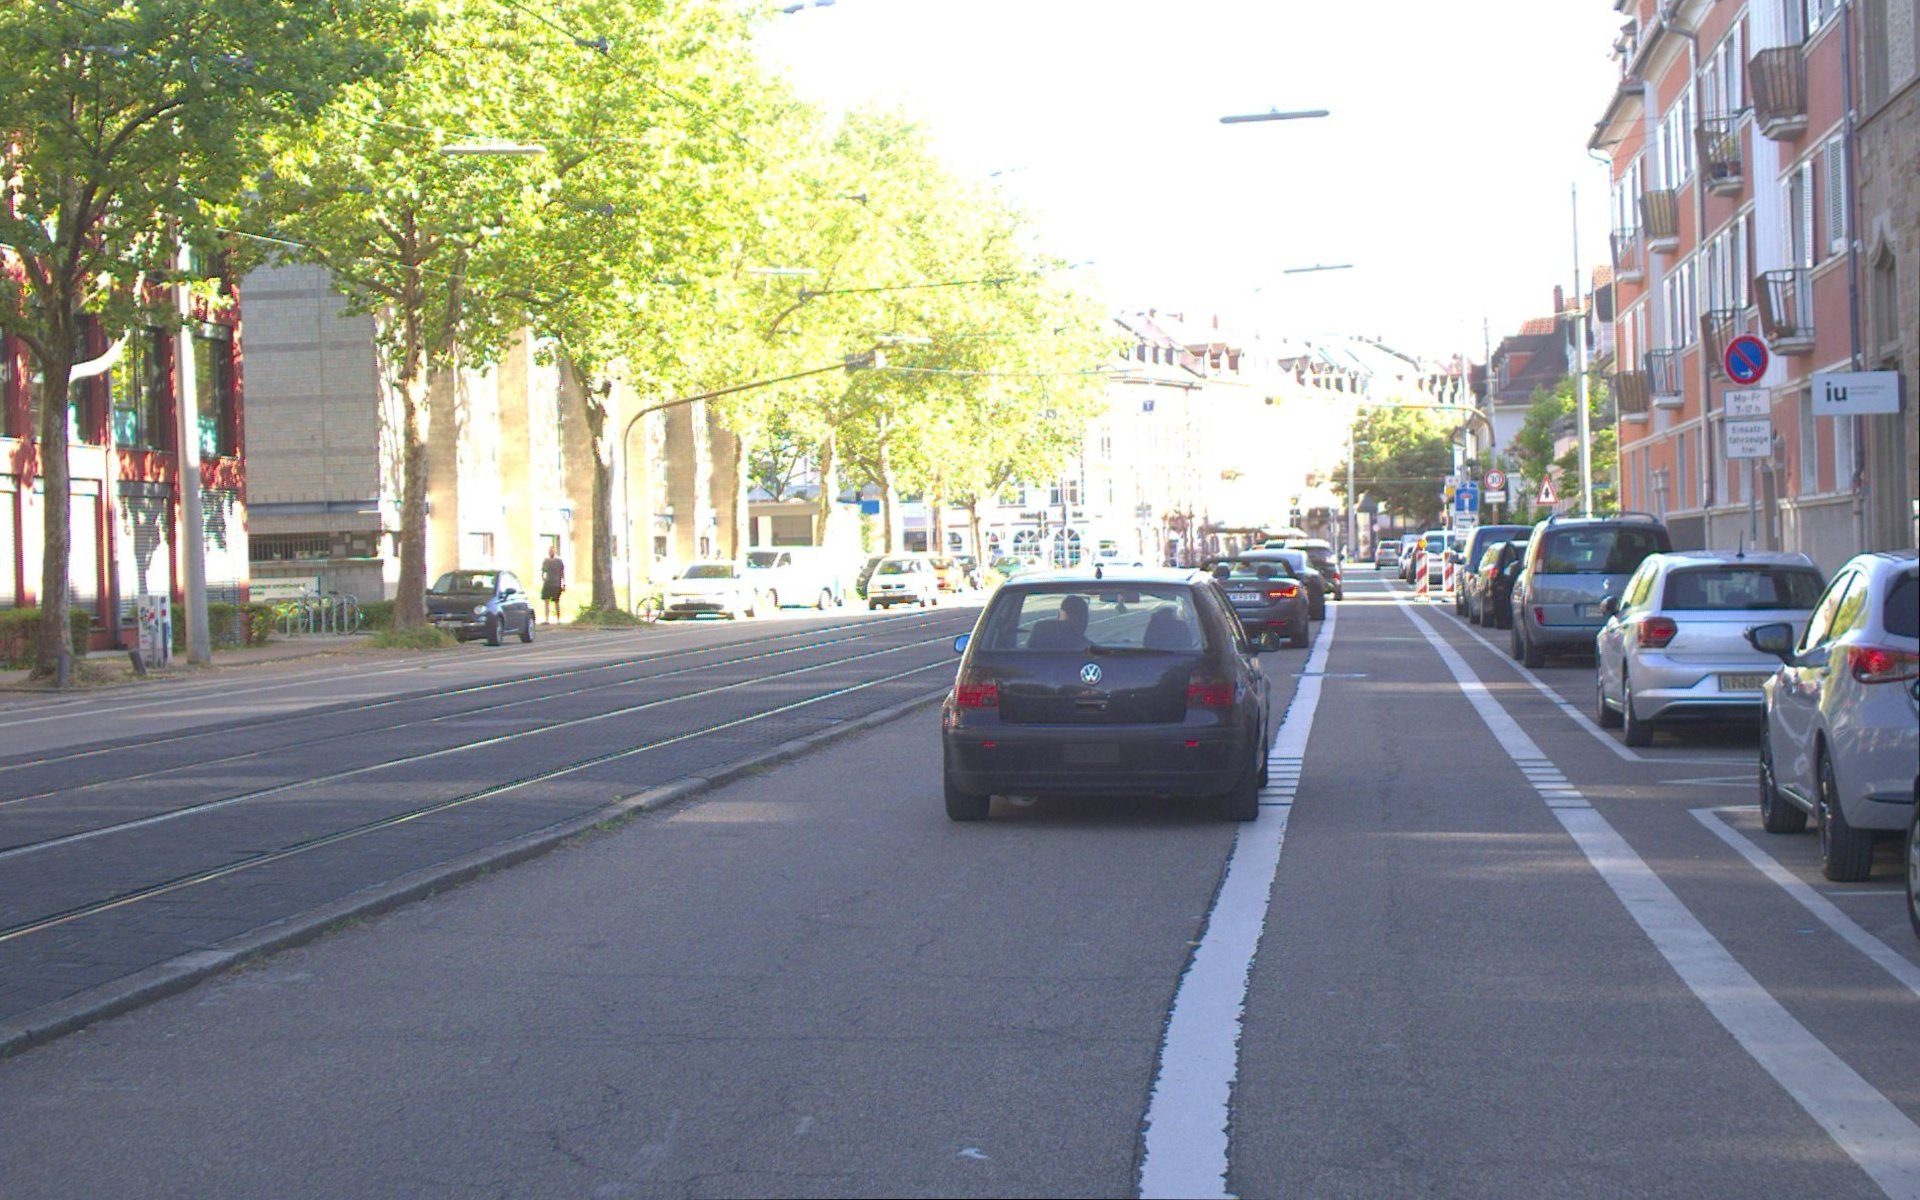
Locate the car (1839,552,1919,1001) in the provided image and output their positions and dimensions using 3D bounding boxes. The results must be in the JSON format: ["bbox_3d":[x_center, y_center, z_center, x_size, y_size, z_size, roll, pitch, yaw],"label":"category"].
[{"bbox_3d":[3.962,0.584,11.024,1.655,1.477,3.999,0,1,6],"label":"car"}]

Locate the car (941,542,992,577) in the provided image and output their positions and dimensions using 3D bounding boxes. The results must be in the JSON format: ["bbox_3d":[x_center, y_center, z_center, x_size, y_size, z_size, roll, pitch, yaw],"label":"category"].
[{"bbox_3d":[0.295,-1.792,151.409,1.793,1.460,3.835,2,1,7],"label":"car"}]

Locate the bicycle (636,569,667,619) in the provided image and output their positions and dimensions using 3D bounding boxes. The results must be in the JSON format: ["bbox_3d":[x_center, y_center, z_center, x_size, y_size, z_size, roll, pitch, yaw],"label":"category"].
[{"bbox_3d":[-7.674,-0.161,85.518,0.581,1.205,1.654,0,1,1],"label":"bicycle"}]

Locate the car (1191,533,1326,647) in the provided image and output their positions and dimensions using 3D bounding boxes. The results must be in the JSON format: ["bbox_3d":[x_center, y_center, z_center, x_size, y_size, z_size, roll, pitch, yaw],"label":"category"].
[{"bbox_3d":[4.336,-0.177,49.509,1.749,1.532,3.891,-1,1,7],"label":"car"}]

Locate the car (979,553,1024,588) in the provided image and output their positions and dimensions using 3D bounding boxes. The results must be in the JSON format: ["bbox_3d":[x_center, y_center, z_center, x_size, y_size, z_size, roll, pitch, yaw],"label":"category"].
[{"bbox_3d":[2.083,-1.456,170.442,1.884,1.663,3.804,1,1,6],"label":"car"}]

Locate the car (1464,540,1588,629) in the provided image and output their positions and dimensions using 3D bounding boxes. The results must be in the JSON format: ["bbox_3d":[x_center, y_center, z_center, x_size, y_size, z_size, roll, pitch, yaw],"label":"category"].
[{"bbox_3d":[9.999,-0.307,61.008,1.754,1.506,4.762,1,1,4],"label":"car"}]

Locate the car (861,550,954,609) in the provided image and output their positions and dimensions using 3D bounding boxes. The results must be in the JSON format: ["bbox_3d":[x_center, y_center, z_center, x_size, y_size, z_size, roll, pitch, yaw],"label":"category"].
[{"bbox_3d":[-1.456,-0.590,96.891,1.753,1.513,4.069,-3,0,11],"label":"car"}]

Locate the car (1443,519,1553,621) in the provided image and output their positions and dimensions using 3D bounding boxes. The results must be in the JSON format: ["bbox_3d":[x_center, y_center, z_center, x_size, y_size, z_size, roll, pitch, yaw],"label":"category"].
[{"bbox_3d":[10.795,-0.620,69.231,1.703,1.804,4.271,-6,0,5],"label":"car"}]

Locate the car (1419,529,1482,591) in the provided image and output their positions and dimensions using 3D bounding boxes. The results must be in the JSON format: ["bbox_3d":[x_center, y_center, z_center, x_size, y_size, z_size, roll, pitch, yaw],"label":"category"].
[{"bbox_3d":[14.895,-1.244,104.521,1.759,1.831,3.547,1,1,7],"label":"car"}]

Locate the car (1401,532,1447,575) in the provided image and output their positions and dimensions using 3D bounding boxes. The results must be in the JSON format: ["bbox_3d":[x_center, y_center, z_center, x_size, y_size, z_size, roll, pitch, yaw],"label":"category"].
[{"bbox_3d":[19.773,-1.985,146.602,1.818,1.793,3.999,-1,1,7],"label":"car"}]

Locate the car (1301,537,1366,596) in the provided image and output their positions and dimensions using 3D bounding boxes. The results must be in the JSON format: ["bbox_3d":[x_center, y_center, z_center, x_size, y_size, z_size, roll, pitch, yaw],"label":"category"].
[{"bbox_3d":[9.701,-0.882,89.177,1.636,1.467,3.728,-1,1,7],"label":"car"}]

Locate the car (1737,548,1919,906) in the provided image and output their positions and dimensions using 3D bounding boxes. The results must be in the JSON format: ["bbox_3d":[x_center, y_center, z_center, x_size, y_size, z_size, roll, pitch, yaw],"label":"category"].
[{"bbox_3d":[4.811,0.513,16.501,1.753,1.495,4.195,1,1,8],"label":"car"}]

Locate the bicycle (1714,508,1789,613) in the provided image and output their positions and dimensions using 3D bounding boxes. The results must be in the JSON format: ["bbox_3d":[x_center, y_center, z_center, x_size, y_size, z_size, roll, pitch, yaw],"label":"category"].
[{"bbox_3d":[9.006,-0.459,39.176,0.515,1.136,2.258,-3,1,6],"label":"bicycle"}]

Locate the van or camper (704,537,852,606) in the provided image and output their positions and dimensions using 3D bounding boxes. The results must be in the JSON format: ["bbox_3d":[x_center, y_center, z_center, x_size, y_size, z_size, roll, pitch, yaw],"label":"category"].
[{"bbox_3d":[-5.321,-0.877,101.288,2.063,1.943,5.182,1,2,27],"label":"van or camper"}]

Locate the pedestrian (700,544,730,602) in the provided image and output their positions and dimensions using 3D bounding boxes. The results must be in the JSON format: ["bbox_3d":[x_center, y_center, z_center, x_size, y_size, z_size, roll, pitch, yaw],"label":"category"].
[{"bbox_3d":[-7.656,-0.846,107.484,0.797,1.814,0.670,1,1,7],"label":"pedestrian"}]

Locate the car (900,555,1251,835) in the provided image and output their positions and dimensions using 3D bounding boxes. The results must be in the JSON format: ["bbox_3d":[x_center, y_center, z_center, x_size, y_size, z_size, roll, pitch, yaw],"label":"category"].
[{"bbox_3d":[0.760,0.468,19.736,1.749,1.370,3.999,-1,1,5],"label":"car"}]

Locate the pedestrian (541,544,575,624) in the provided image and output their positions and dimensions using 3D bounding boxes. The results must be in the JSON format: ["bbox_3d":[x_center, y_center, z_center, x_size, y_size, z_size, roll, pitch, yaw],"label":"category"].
[{"bbox_3d":[-9.501,-0.382,81.257,0.784,1.863,0.671,0,1,-8],"label":"pedestrian"}]

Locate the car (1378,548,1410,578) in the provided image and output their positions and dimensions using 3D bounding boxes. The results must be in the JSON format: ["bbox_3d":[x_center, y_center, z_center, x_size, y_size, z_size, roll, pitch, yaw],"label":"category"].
[{"bbox_3d":[23.735,-2.042,187.978,1.668,1.592,3.649,-1,1,7],"label":"car"}]

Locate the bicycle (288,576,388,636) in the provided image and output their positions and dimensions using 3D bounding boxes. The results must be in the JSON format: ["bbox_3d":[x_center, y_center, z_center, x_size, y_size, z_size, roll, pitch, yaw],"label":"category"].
[{"bbox_3d":[-13.367,0.129,73.901,2.009,1.274,0.664,0,1,7],"label":"bicycle"}]

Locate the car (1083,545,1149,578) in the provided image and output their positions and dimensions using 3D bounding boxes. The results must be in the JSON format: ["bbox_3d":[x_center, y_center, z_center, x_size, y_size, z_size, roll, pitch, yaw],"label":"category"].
[{"bbox_3d":[9.546,-2.359,210.216,3.987,2.007,2.000,1,1,4],"label":"car"}]

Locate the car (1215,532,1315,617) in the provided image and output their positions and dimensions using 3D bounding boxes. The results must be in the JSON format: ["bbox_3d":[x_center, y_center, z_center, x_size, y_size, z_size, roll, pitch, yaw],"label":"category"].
[{"bbox_3d":[5.913,-0.511,66.448,1.749,1.532,3.891,-1,1,7],"label":"car"}]

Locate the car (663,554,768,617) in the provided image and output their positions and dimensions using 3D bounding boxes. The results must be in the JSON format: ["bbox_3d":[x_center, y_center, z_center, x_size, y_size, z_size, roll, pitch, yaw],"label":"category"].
[{"bbox_3d":[-6.438,-0.411,91.004,2.012,1.567,4.693,1,1,5],"label":"car"}]

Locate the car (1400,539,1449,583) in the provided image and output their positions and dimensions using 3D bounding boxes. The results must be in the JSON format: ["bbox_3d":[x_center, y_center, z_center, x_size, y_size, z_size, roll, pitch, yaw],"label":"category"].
[{"bbox_3d":[16.772,-1.419,124.193,1.661,1.520,4.035,-1,1,7],"label":"car"}]

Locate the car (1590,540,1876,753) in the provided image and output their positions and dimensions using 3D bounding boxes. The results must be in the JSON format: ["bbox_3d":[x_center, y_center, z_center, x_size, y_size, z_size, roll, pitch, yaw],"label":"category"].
[{"bbox_3d":[5.894,0.291,26.632,1.714,1.495,4.225,1,1,7],"label":"car"}]

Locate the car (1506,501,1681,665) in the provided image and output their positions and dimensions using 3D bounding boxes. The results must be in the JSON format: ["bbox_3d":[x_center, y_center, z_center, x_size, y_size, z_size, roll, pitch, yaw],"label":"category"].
[{"bbox_3d":[7.597,-0.233,41.578,1.753,1.849,4.814,0,1,7],"label":"car"}]

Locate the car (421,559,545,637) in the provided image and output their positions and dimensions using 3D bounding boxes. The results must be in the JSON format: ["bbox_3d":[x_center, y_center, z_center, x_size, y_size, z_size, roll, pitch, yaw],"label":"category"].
[{"bbox_3d":[-9.267,-0.033,66.991,1.507,1.449,3.462,-1,0,8],"label":"car"}]
